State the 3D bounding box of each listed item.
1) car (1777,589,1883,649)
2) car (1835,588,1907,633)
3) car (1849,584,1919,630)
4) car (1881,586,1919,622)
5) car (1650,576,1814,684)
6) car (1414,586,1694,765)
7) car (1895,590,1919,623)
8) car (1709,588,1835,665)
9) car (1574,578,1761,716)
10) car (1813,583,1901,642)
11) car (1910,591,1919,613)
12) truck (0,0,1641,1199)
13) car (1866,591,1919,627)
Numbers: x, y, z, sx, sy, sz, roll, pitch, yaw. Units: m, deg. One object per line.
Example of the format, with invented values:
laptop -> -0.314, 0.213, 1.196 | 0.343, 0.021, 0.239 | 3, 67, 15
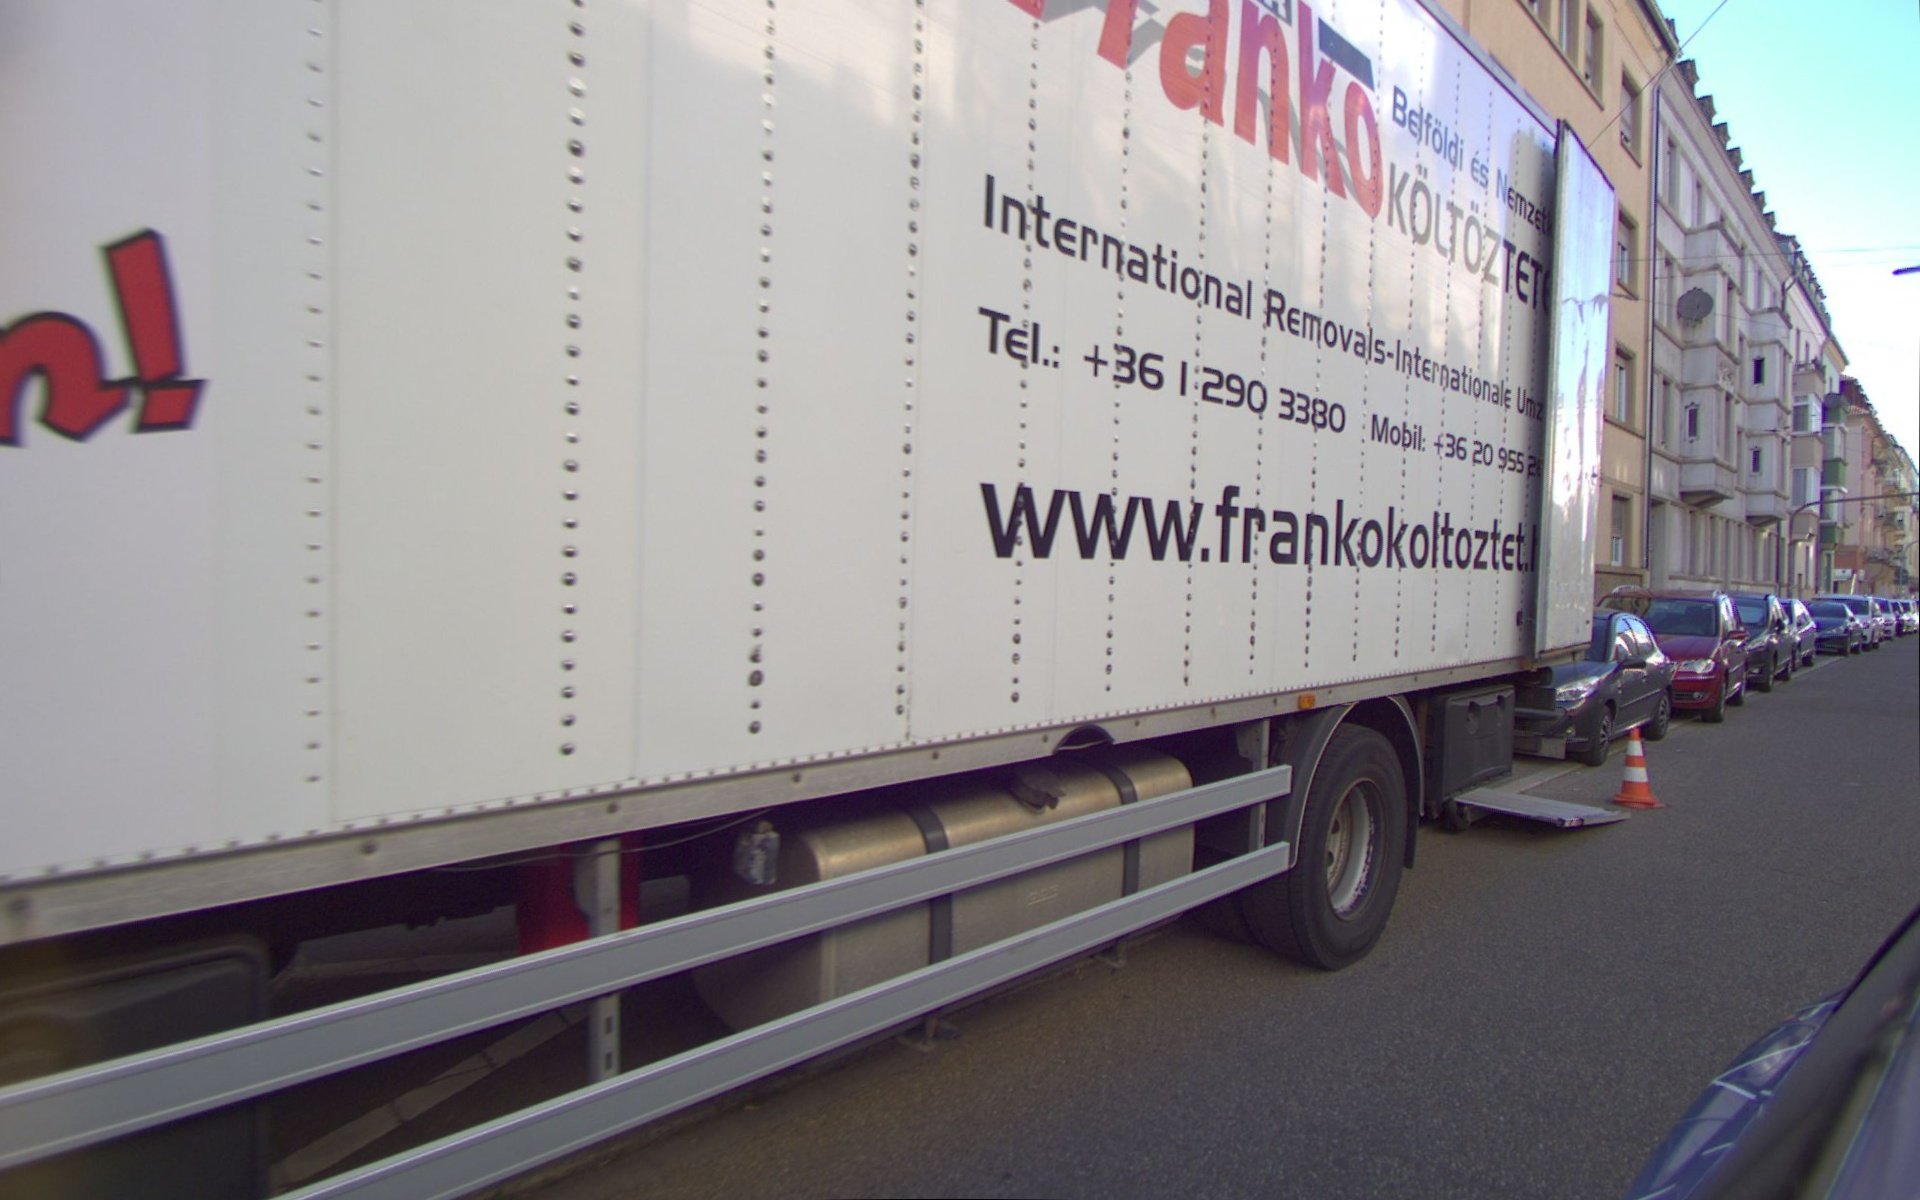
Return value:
car -> 24.207, 0.478, 28.103 | 4.134, 1.470, 1.702 | 0, 2, -42
car -> 33.893, 0.355, 37.634 | 3.307, 1.502, 1.570 | 0, 4, -42
car -> 37.189, 0.256, 40.605 | 4.115, 1.719, 1.702 | 0, 2, -41
car -> 44.894, 0.165, 47.894 | 3.895, 1.610, 1.700 | 0, 1, -44
car -> 13.987, 0.446, 18.235 | 1.791, 1.672, 4.296 | 3, 2, 45
car -> 6.306, 0.630, 10.562 | 3.817, 1.481, 1.584 | 0, 2, -45
car -> 49.652, 0.347, 52.207 | 3.297, 1.609, 1.702 | 0, 4, -42
car -> 17.572, 0.515, 21.856 | 3.421, 1.481, 1.611 | 0, 2, -43
car -> 9.905, 0.538, 14.029 | 1.591, 1.629, 4.181 | 1, 1, 43
car -> 28.516, 0.348, 32.138 | 4.514, 1.714, 1.710 | 0, 2, -44
car -> 66.332, 0.153, 69.059 | 3.664, 1.437, 1.996 | 0, 2, -43
truck -> -1.094, -0.688, 3.152 | 11.582, 4.124, 2.863 | 0, 1, -44
car -> 41.182, 0.365, 44.493 | 3.798, 1.524, 1.701 | 0, 1, -43
